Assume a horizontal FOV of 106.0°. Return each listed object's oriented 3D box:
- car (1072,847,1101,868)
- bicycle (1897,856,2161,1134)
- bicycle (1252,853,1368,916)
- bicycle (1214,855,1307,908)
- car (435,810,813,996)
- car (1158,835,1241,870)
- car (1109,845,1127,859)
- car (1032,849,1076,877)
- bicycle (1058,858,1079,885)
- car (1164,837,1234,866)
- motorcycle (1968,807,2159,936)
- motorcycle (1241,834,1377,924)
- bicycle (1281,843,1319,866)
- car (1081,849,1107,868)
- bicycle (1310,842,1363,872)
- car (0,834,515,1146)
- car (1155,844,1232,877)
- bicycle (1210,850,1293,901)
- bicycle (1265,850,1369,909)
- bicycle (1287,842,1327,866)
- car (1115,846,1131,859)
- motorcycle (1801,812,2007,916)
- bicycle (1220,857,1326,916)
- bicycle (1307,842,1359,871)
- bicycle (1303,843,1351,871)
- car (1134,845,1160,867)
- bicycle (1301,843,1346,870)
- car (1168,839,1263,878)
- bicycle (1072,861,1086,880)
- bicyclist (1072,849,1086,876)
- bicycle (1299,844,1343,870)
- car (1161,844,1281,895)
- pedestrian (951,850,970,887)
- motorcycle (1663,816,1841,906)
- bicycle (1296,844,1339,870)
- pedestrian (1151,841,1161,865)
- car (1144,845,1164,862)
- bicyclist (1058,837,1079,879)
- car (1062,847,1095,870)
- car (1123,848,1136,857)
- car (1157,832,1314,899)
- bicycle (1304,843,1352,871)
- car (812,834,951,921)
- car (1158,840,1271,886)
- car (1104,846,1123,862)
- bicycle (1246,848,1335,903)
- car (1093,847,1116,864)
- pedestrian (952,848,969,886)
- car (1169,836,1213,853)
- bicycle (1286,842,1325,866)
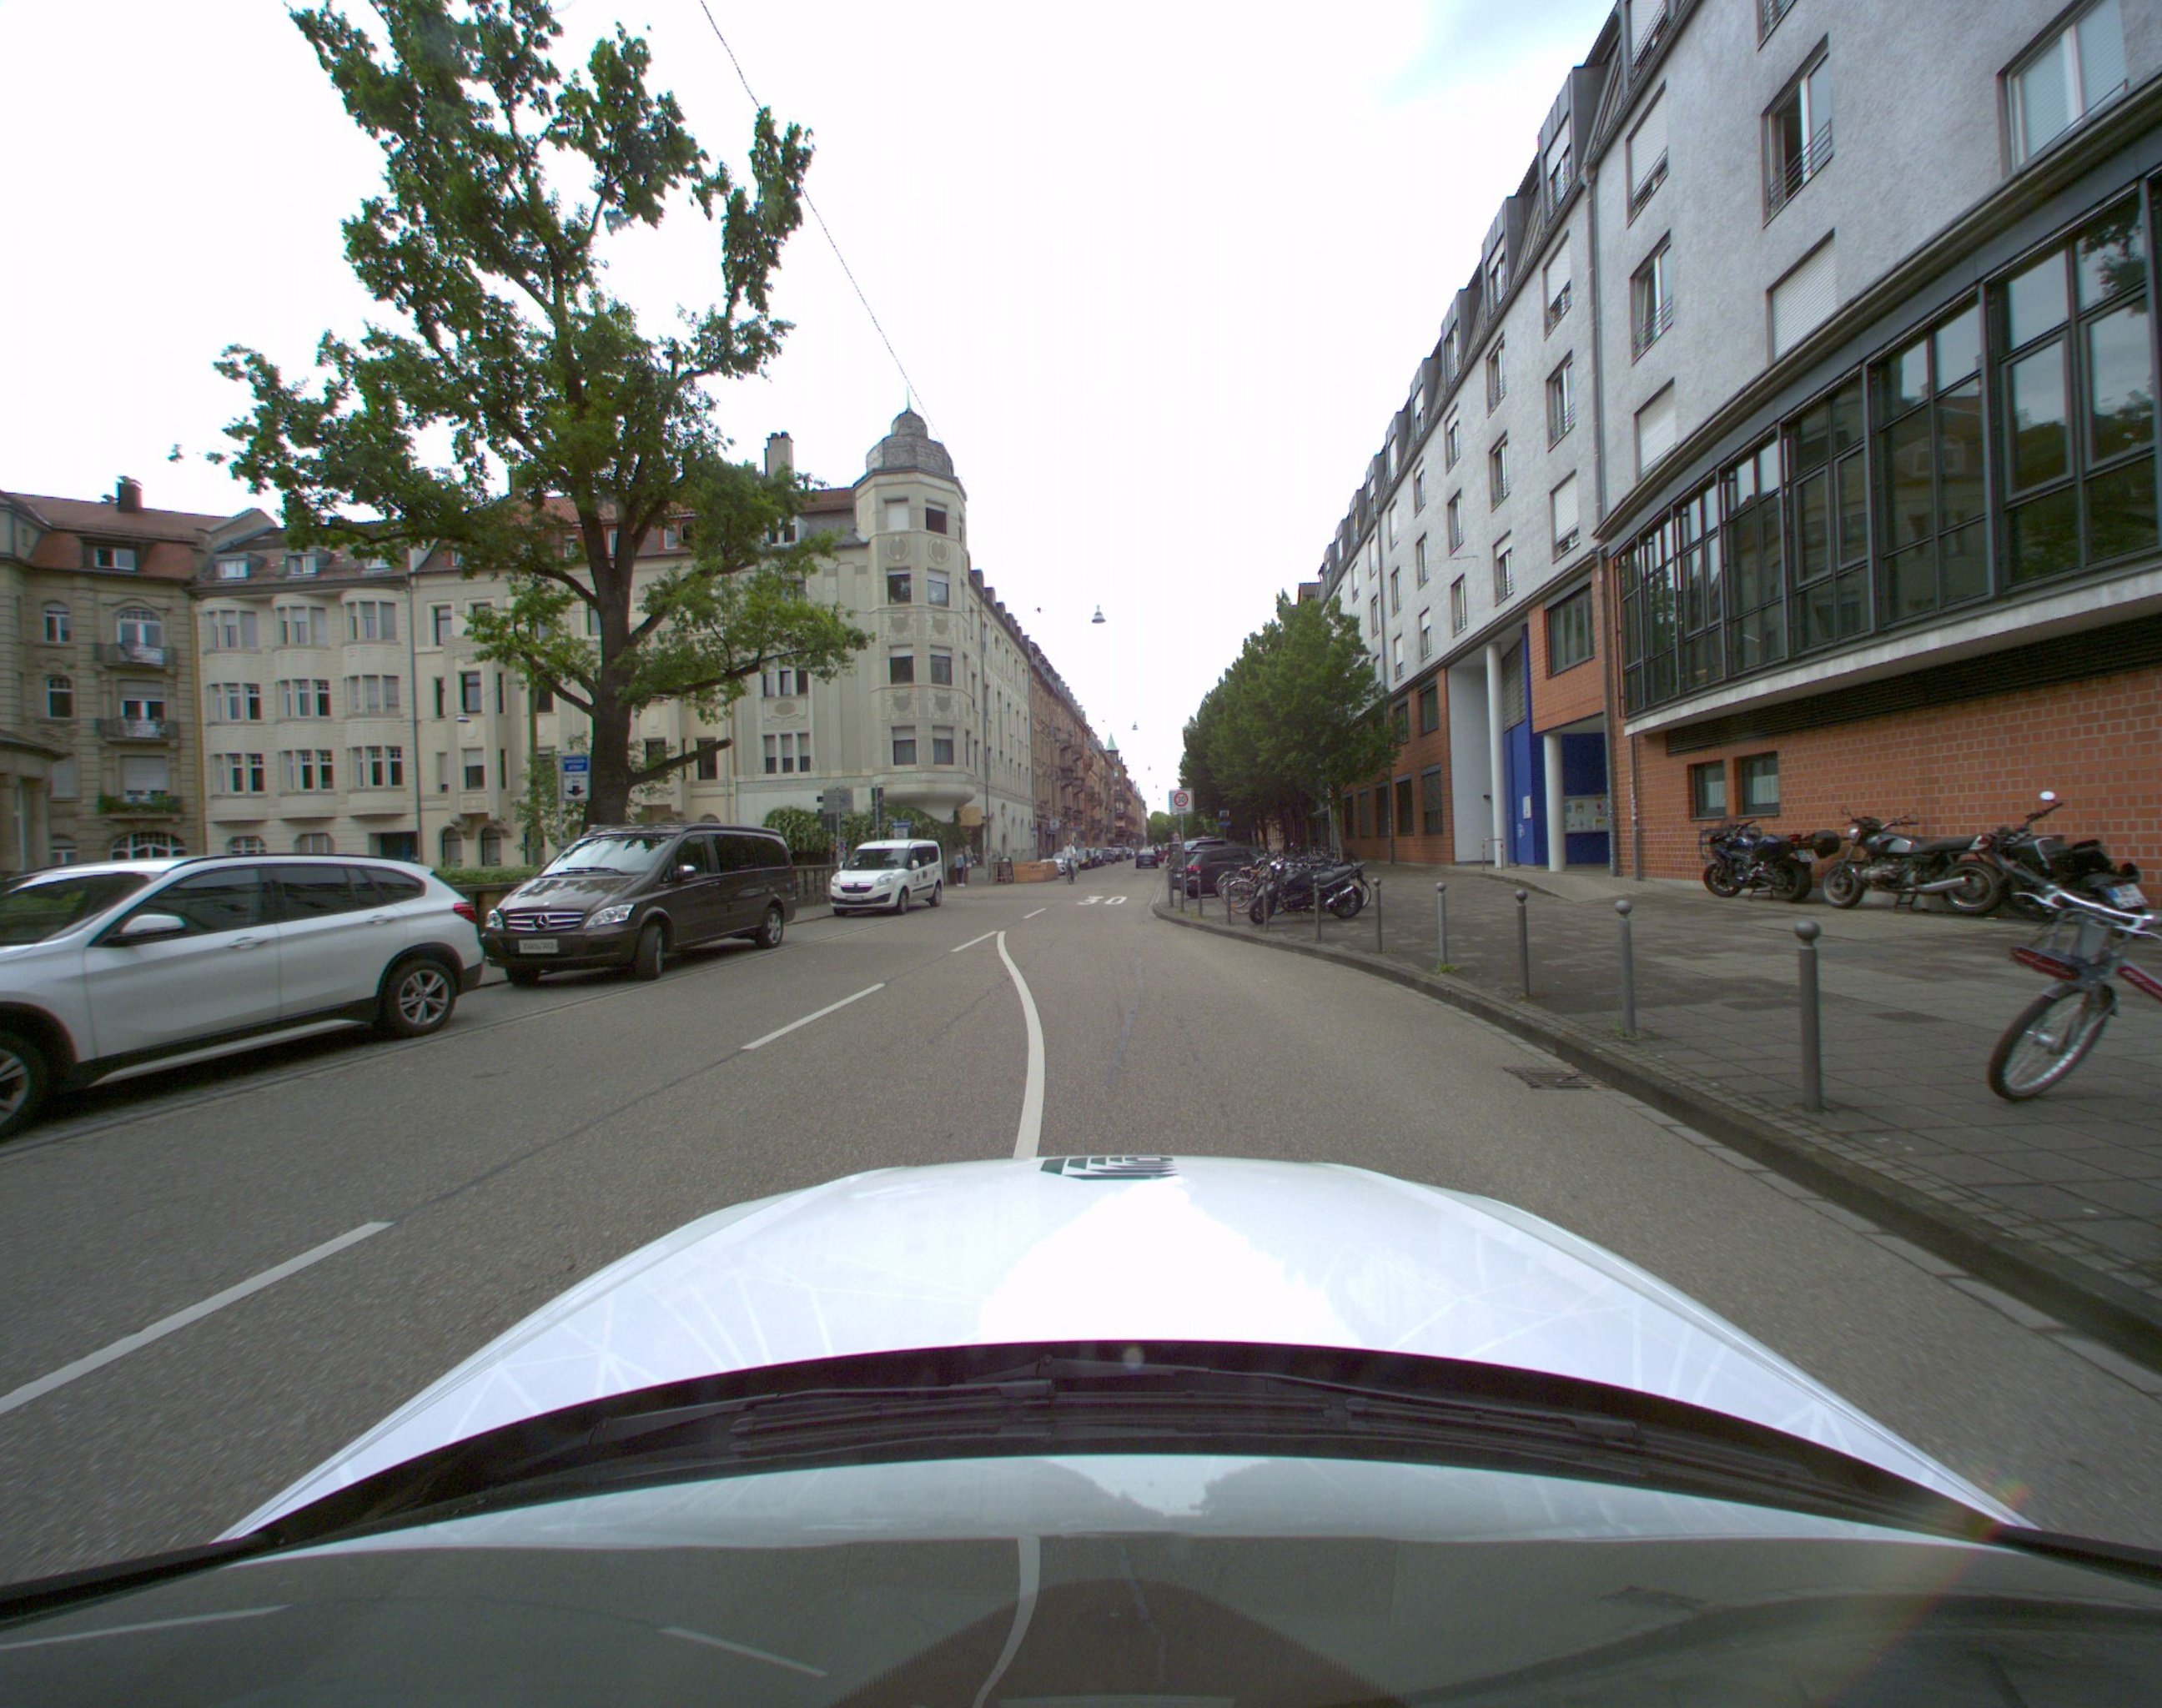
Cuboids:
[{"bbox_3d":[0.519,0.260,66.983,1.934,1.617,3.950,-1,0,6],"label":"car"},{"bbox_3d":[4.804,0.580,3.475,0.733,1.104,1.718,-4,0,-35],"label":"bicycle"},{"bbox_3d":[4.333,0.574,15.504,2.000,1.062,0.612,-4,-1,3],"label":"bicycle"},{"bbox_3d":[3.937,0.607,17.974,1.876,1.043,0.612,-4,-1,3],"label":"bicycle"},{"bbox_3d":[-5.979,0.529,11.678,2.003,2.014,5.192,-2,0,6],"label":"car"},{"bbox_3d":[8.435,-0.140,57.765,5.640,2.127,1.933,-3,0,-28],"label":"car"},{"bbox_3d":[4.816,-0.233,105.713,1.934,1.744,3.950,-1,0,6],"label":"car"},{"bbox_3d":[-1.592,0.544,49.935,1.933,1.553,3.827,-4,0,9],"label":"car"},{"bbox_3d":[-0.552,0.772,36.411,0.564,1.087,1.991,-2,0,8],"label":"bicycle"},{"bbox_3d":[9.564,-0.208,65.805,5.418,1.992,1.933,-3,0,-28],"label":"car"},{"bbox_3d":[9.763,0.138,8.185,0.595,1.143,1.894,-4,0,31],"label":"motorcycle"},{"bbox_3d":[3.997,0.440,14.406,2.125,1.429,0.771,-4,-1,3],"label":"motorcycle"},{"bbox_3d":[11.045,0.006,41.039,1.744,1.092,0.566,-2,-1,5],"label":"bicycle"},{"bbox_3d":[1.221,0.415,74.138,1.934,1.617,3.949,-1,0,6],"label":"car"},{"bbox_3d":[10.096,0.114,32.229,1.923,1.092,0.578,-2,-1,5],"label":"bicycle"},{"bbox_3d":[-6.654,0.745,5.750,1.834,1.688,4.440,-2,1,6],"label":"car"},{"bbox_3d":[6.058,0.338,43.735,3.879,1.505,1.752,-3,0,-34],"label":"car"},{"bbox_3d":[4.186,0.529,20.051,1.876,1.141,0.612,-4,-1,3],"label":"bicycle"},{"bbox_3d":[4.876,0.520,16.914,1.921,1.077,0.612,-4,-1,3],"label":"bicycle"},{"bbox_3d":[10.903,-0.016,39.309,1.744,1.092,0.566,-2,-1,5],"label":"bicycle"},{"bbox_3d":[5.793,-0.250,112.459,1.934,1.738,3.950,-2,0,6],"label":"car"},{"bbox_3d":[10.176,0.109,10.202,0.598,1.143,2.074,-4,0,6],"label":"motorcycle"},{"bbox_3d":[3.825,0.639,16.315,1.921,1.043,0.612,-4,-1,3],"label":"bicycle"},{"bbox_3d":[10.158,0.121,32.833,1.886,1.092,0.544,-2,-1,5],"label":"bicycle"},{"bbox_3d":[10.397,0.131,34.424,1.827,1.092,0.566,-2,-1,5],"label":"bicycle"},{"bbox_3d":[5.270,0.182,64.881,1.984,1.681,4.006,-2,-1,5],"label":"car"},{"bbox_3d":[10.433,0.129,35.054,1.744,1.092,0.566,-2,-1,5],"label":"bicycle"},{"bbox_3d":[6.348,0.214,38.490,4.067,1.585,1.757,-3,0,-25],"label":"car"},{"bbox_3d":[-0.096,0.852,42.454,0.532,0.977,1.868,-2,-1,6],"label":"bicycle"},{"bbox_3d":[-0.106,0.439,42.353,0.665,1.399,0.784,-2,-1,3],"label":"bicyclist"},{"bbox_3d":[10.554,0.132,35.831,1.744,1.092,0.566,-2,-1,5],"label":"bicycle"},{"bbox_3d":[4.660,0.487,27.086,3.576,1.498,1.828,-2,1,-29],"label":"car"},{"bbox_3d":[-5.431,0.645,36.720,0.573,1.660,0.579,-3,-1,27],"label":"pedestrian"},{"bbox_3d":[10.261,0.086,12.605,1.023,1.202,2.213,-4,0,6],"label":"motorcycle"},{"bbox_3d":[10.565,0.121,36.440,1.744,1.092,0.566,-2,-1,5],"label":"bicycle"},{"bbox_3d":[6.931,-0.083,75.430,0.887,2.146,1.029,-2,-1,5],"label":"pedestrian"},{"bbox_3d":[7.685,-0.025,85.326,1.984,1.681,4.006,-2,-1,5],"label":"car"},{"bbox_3d":[-0.579,0.167,36.745,0.778,1.866,0.716,-2,0,6],"label":"bicyclist"},{"bbox_3d":[-0.149,0.298,61.539,1.934,1.617,3.950,-1,0,6],"label":"car"},{"bbox_3d":[7.552,-0.238,127.320,1.985,1.321,4.003,-2,-1,3],"label":"car"},{"bbox_3d":[4.642,0.319,24.339,4.298,1.578,1.847,-5,0,-27],"label":"car"},{"bbox_3d":[10.192,0.133,33.644,1.827,1.092,0.544,-2,-1,5],"label":"bicycle"},{"bbox_3d":[-4.981,0.515,21.043,1.833,1.939,4.559,-2,1,8],"label":"car"},{"bbox_3d":[5.358,0.344,32.747,4.067,1.585,1.887,-3,0,-25],"label":"car"},{"bbox_3d":[3.830,-0.025,94.931,1.934,1.741,3.950,-1,0,6],"label":"car"},{"bbox_3d":[4.854,0.494,18.946,1.876,1.141,0.612,-4,-1,3],"label":"bicycle"},{"bbox_3d":[2.430,0.166,82.913,1.934,1.617,3.949,-2,0,6],"label":"car"},{"bbox_3d":[-5.524,0.589,37.452,0.582,1.734,0.501,-1,-1,-30],"label":"pedestrian"},{"bbox_3d":[14.201,-1.174,105.334,5.411,1.868,1.935,-3,0,-24],"label":"car"},{"bbox_3d":[11.065,-0.008,40.176,1.744,1.092,0.566,-2,-1,5],"label":"bicycle"}]
